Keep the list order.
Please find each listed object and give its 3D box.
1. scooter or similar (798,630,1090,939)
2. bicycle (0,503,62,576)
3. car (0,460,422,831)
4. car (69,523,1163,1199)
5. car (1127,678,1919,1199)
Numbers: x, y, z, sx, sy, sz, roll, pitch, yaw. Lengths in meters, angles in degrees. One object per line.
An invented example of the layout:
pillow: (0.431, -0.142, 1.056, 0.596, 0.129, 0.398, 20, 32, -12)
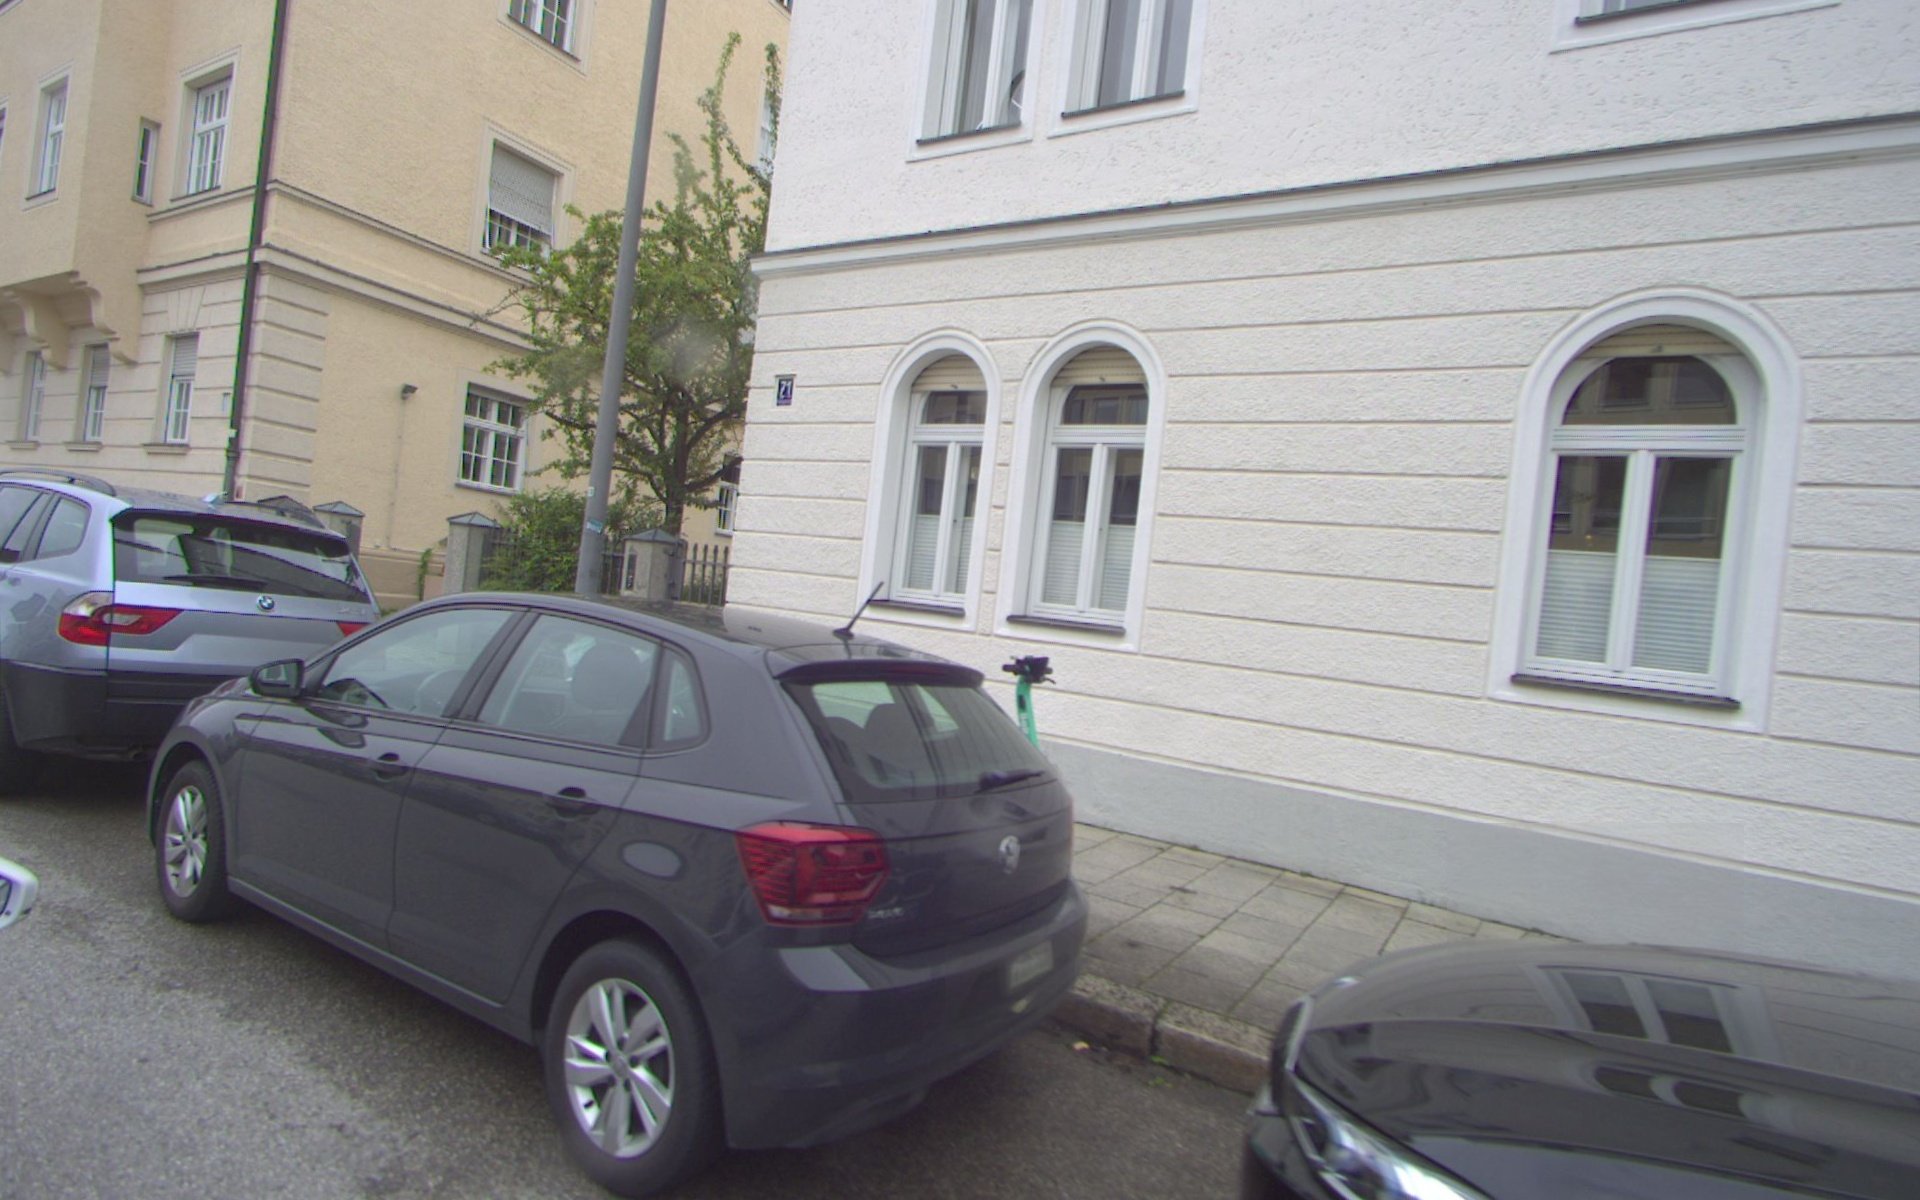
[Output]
scooter or similar: (-0.084, 0.797, 4.684, 1.152, 1.178, 0.485, 6, -1, 30)
bicycle: (-16.012, -1.047, 17.092, 1.921, 1.097, 0.579, 7, 3, 32)
car: (-5.577, 0.077, 6.378, 4.383, 1.654, 1.725, 6, -1, 32)
car: (-1.500, 0.655, 3.854, 4.019, 1.444, 1.682, 6, -1, 31)
car: (2.545, 1.118, 1.257, 4.317, 1.444, 1.682, 6, -1, 31)
